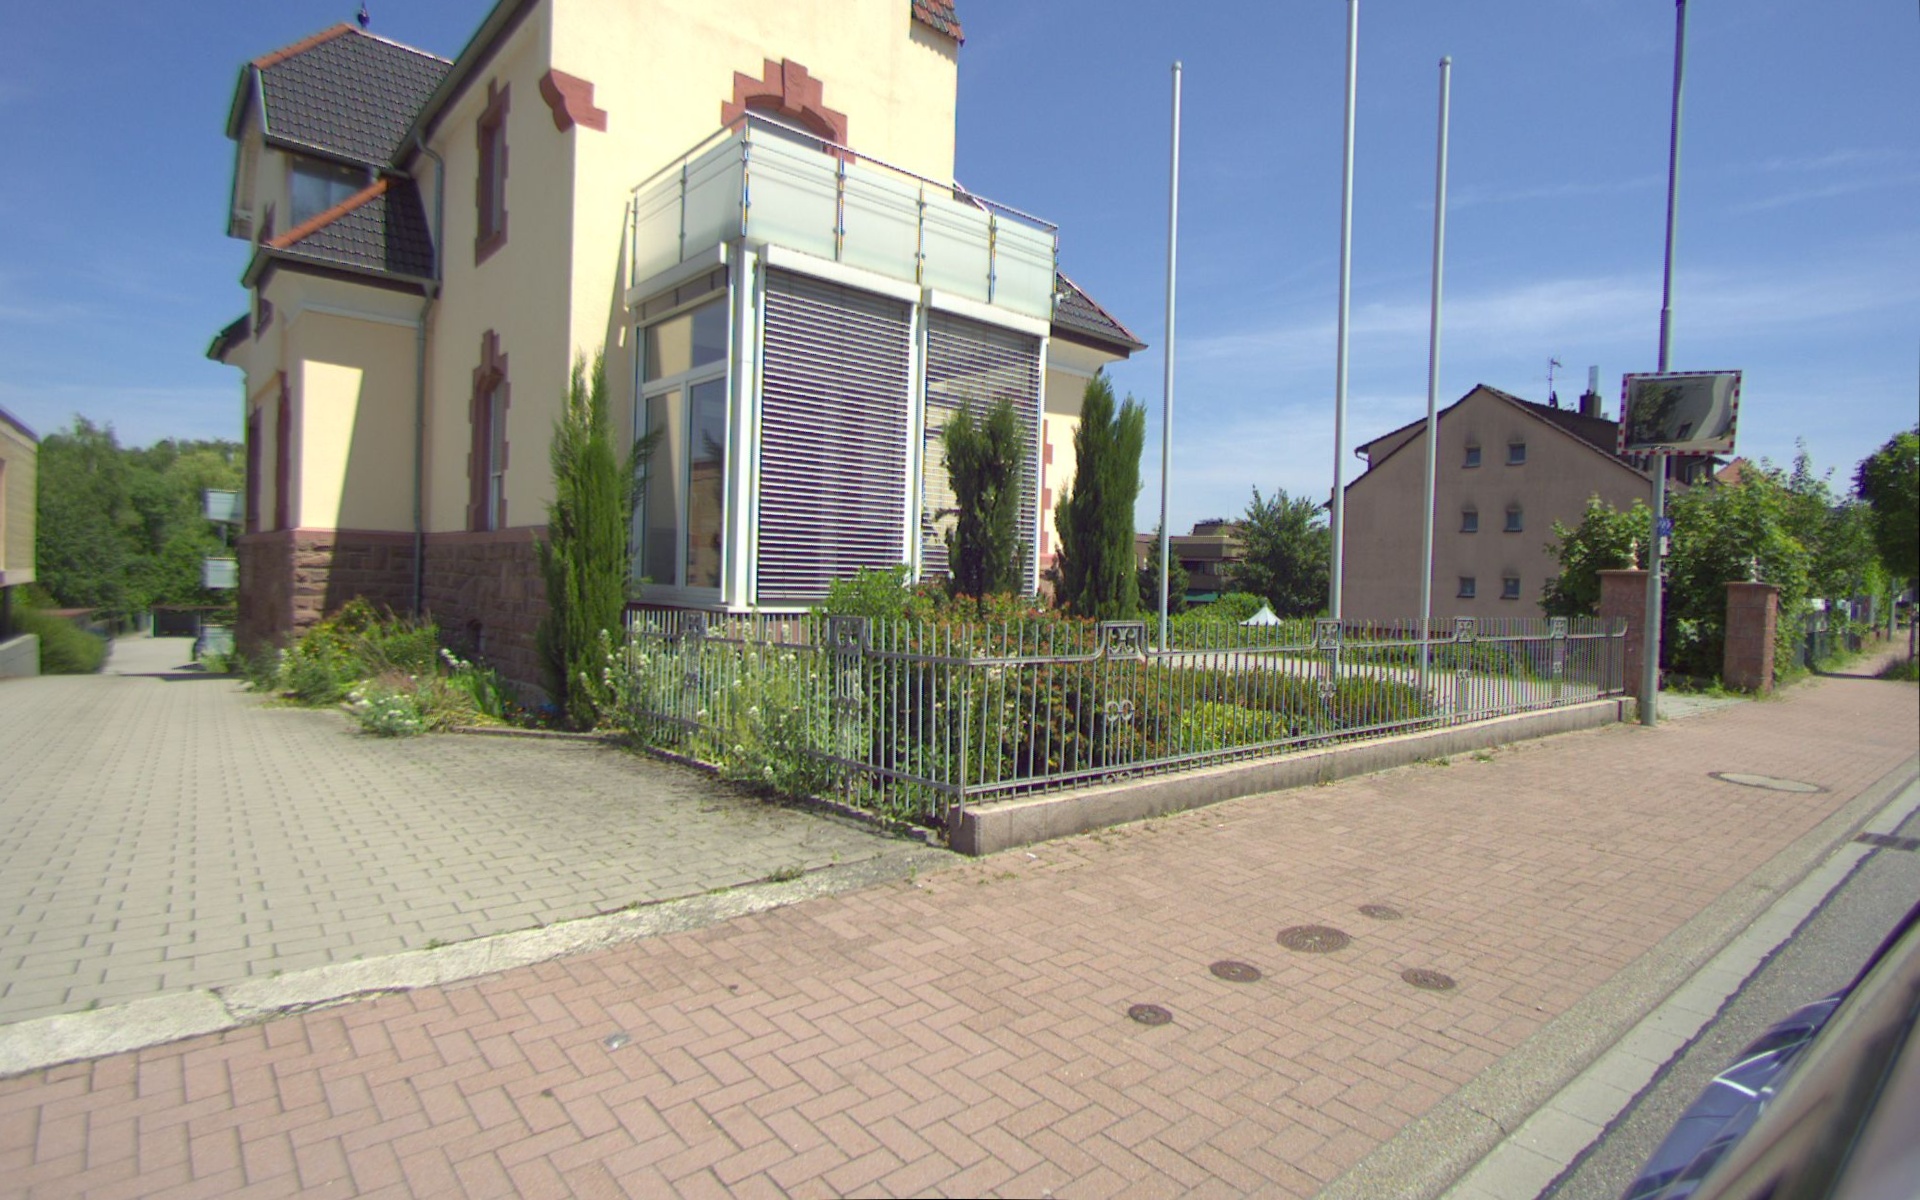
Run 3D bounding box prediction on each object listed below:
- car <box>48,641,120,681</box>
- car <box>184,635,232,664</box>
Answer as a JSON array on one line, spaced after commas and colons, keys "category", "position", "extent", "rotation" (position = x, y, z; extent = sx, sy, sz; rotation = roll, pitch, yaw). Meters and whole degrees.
[{"category": "car", "position": [-32.536, 2.228, 37.650], "extent": [1.652, 1.389, 3.457], "rotation": [1, -2, -35]}, {"category": "car", "position": [-41.467, 2.686, 55.847], "extent": [1.873, 1.460, 3.929], "rotation": [0, -1, -33]}]
